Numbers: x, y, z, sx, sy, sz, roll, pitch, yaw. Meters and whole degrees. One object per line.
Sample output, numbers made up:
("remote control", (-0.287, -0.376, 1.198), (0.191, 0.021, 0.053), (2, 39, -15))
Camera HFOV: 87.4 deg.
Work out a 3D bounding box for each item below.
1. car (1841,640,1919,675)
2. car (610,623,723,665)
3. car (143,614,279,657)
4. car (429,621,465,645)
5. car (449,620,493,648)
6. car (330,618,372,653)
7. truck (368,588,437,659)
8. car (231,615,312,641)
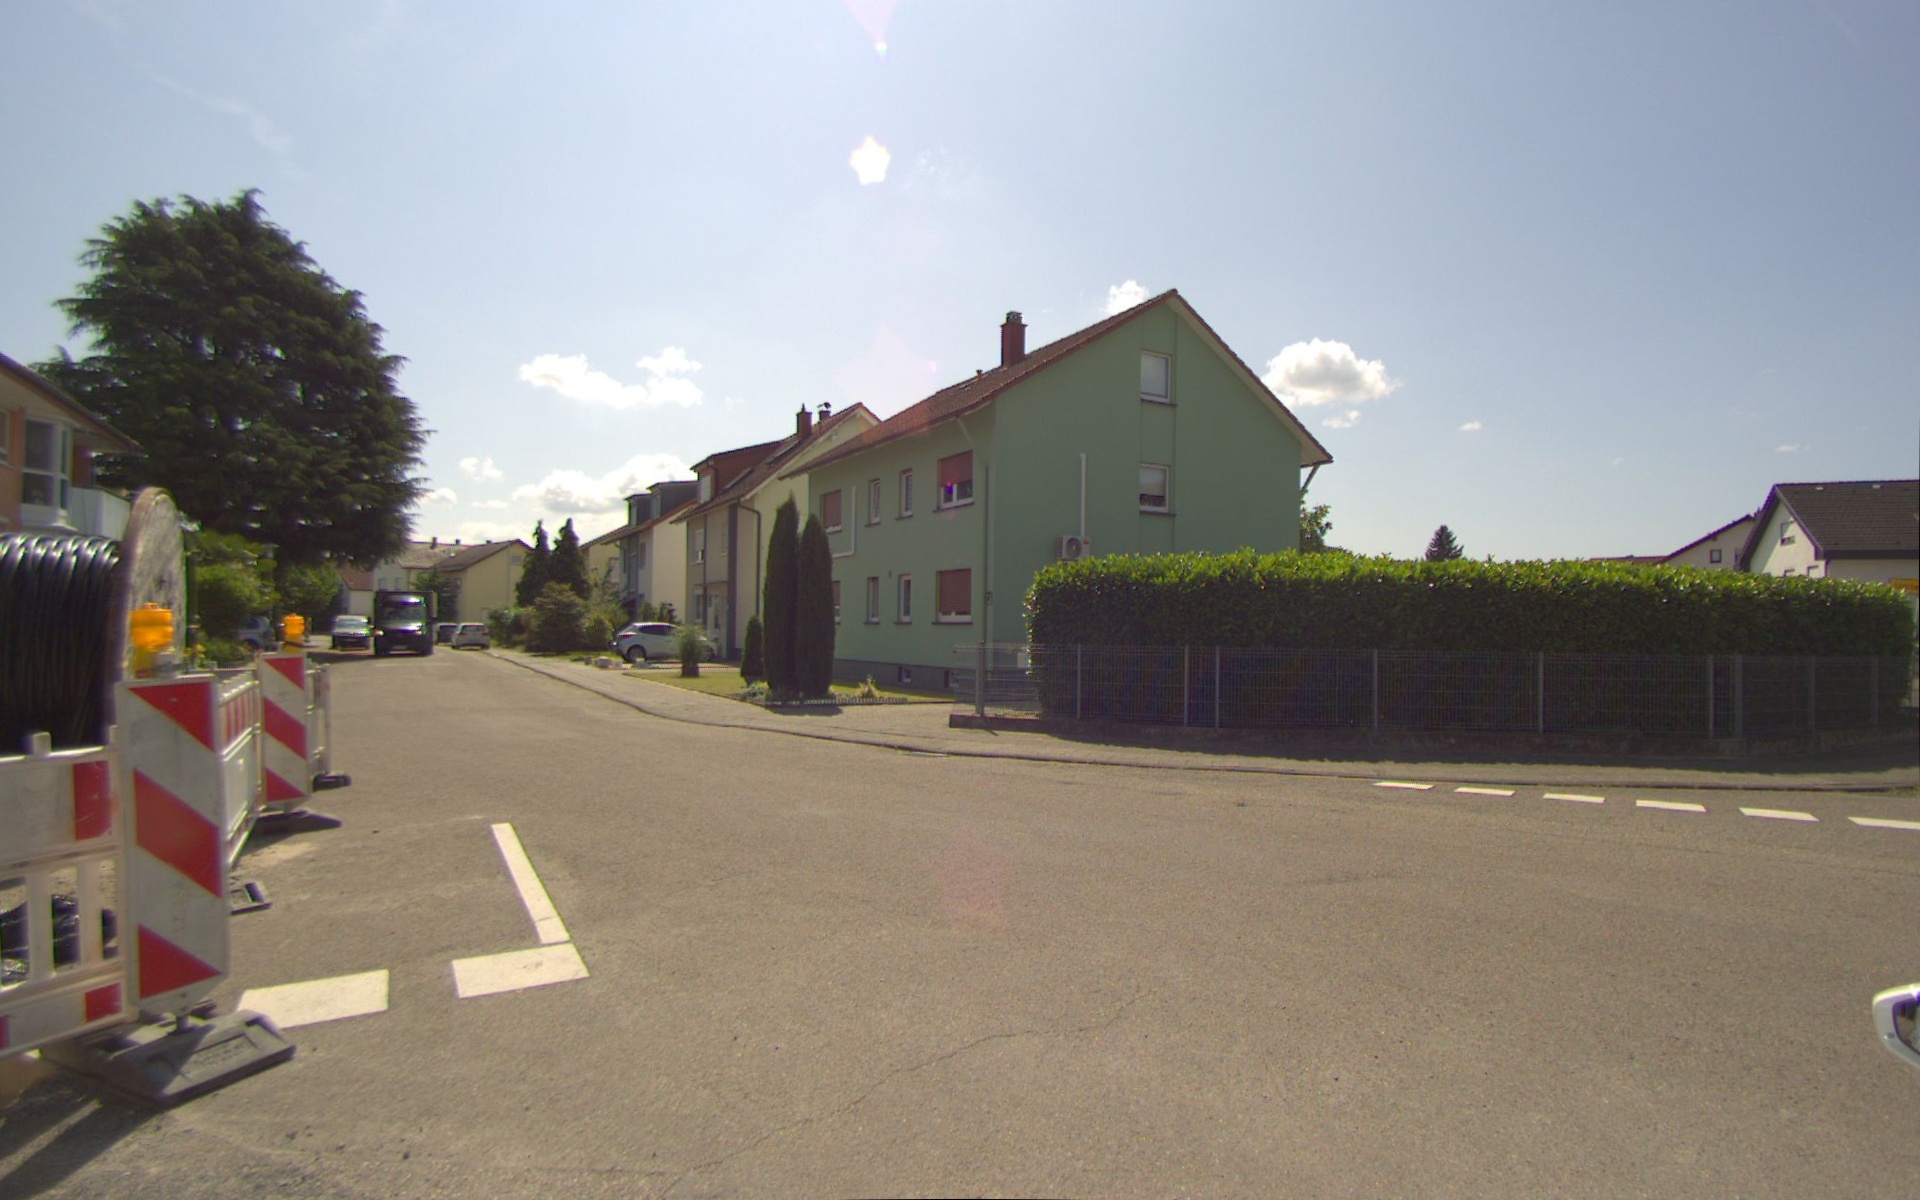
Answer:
("car", (40.308, 2.463, 42.934), (3.540, 1.427, 1.784), (0, -2, 21))
("car", (-11.209, 1.650, 38.388), (3.879, 1.530, 1.760), (1, -1, -29))
("car", (-30.338, 1.439, 40.854), (4.153, 1.675, 1.801), (2, -2, -28))
("car", (-34.622, 2.215, 67.716), (1.794, 1.514, 3.965), (2, -2, -32))
("car", (-27.755, 1.915, 56.934), (1.794, 1.514, 3.965), (2, -2, -32))
("car", (-32.484, 1.848, 53.526), (1.794, 1.786, 4.169), (2, -2, -32))
("truck", (-24.503, 0.998, 44.317), (2.411, 2.825, 7.245), (-2, 0, -28))
("car", (-45.327, 1.865, 66.235), (4.153, 1.675, 1.801), (2, -2, -28))
